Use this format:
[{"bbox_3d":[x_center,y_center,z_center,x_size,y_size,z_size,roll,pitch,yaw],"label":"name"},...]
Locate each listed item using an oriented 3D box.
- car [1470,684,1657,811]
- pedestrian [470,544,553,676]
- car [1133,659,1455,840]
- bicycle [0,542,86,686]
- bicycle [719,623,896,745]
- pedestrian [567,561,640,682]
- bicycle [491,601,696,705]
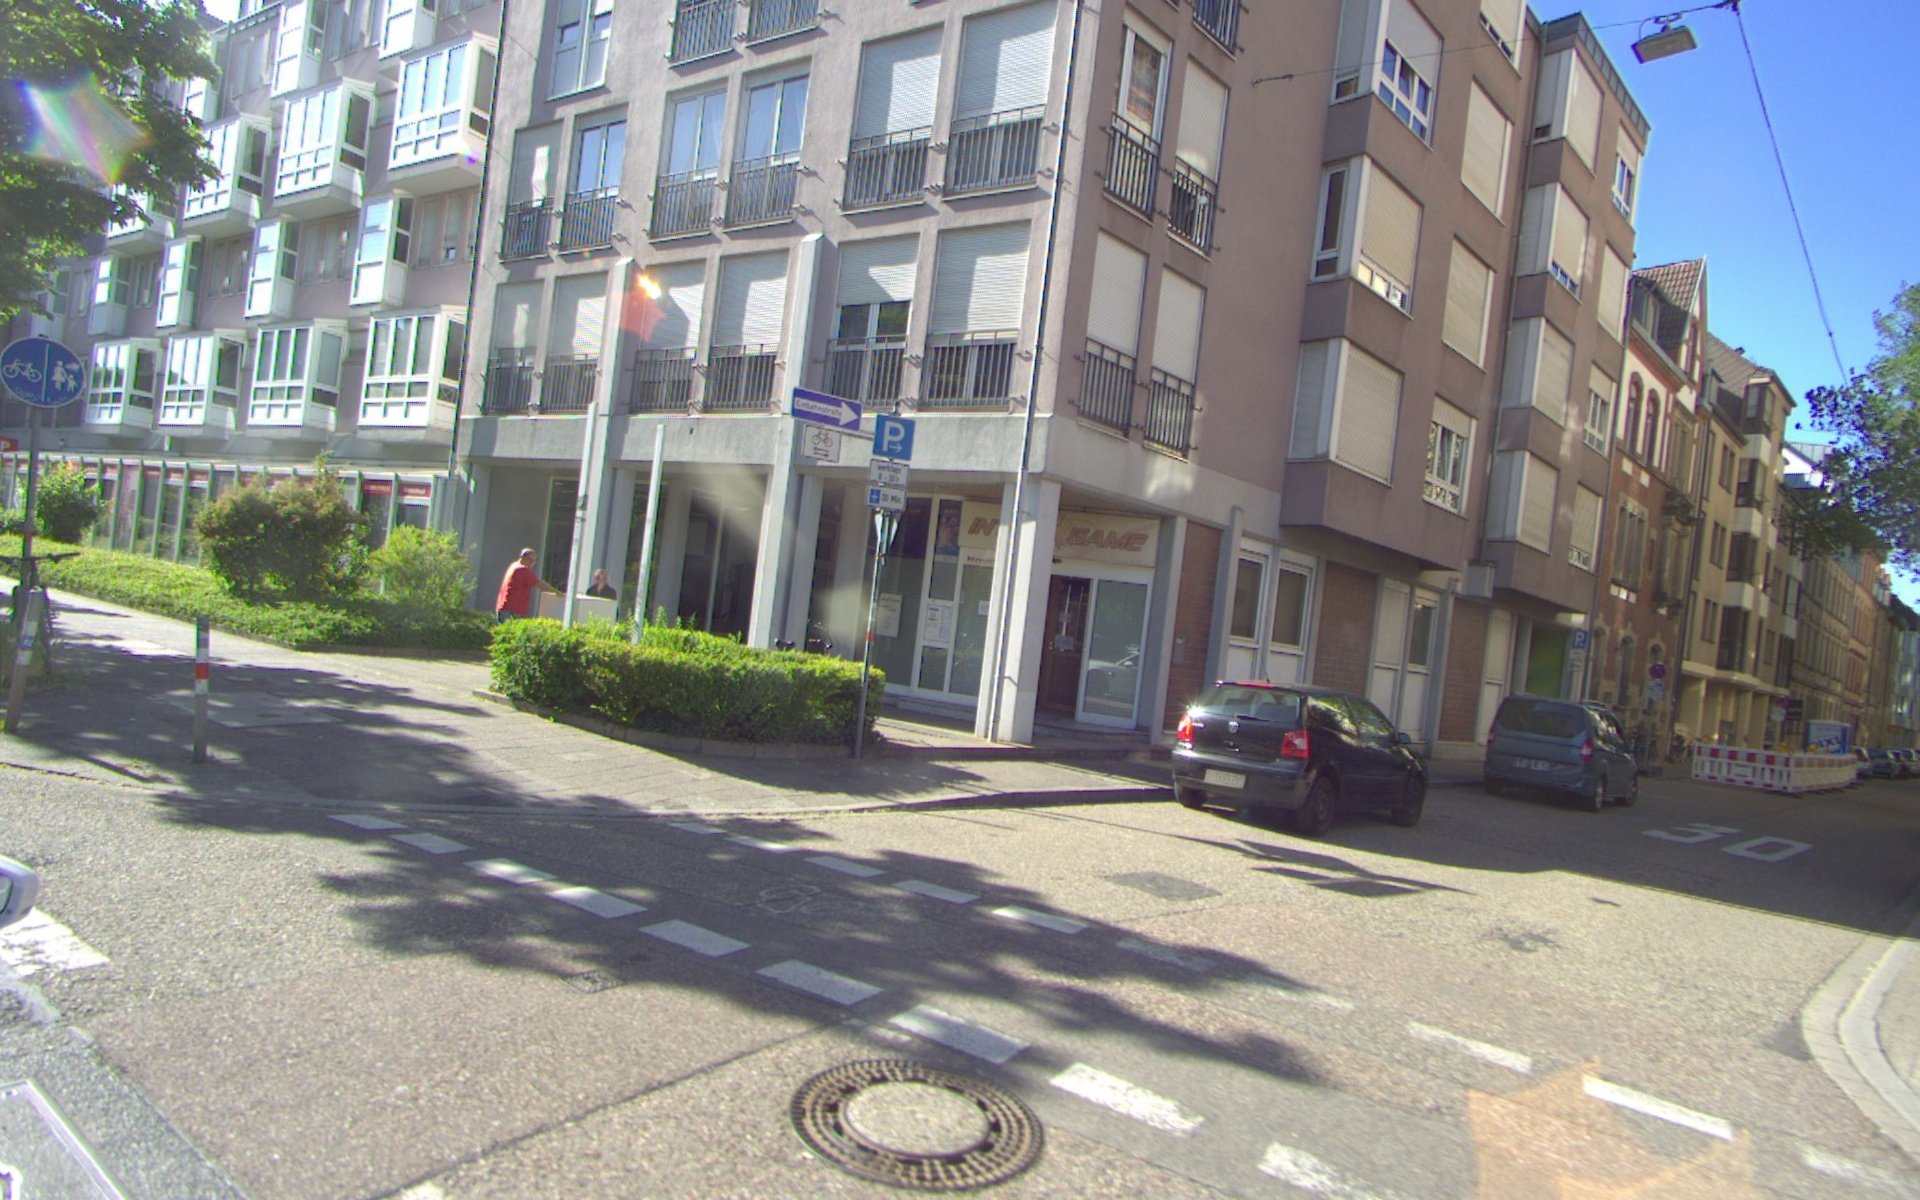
[{"bbox_3d":[10.468,2.535,17.328,1.772,1.726,3.937,6,-3,45],"label":"car"},{"bbox_3d":[-5.766,0.126,12.951,0.593,1.625,0.654,5,2,26],"label":"pedestrian"},{"bbox_3d":[3.913,1.671,11.411,1.839,1.539,3.937,4,-4,45],"label":"car"},{"bbox_3d":[-8.231,0.086,8.940,0.588,1.078,1.999,8,-1,-41],"label":"bicycle"},{"bbox_3d":[-1.813,0.940,11.696,2.171,1.040,0.684,9,2,40],"label":"bicycle"},{"bbox_3d":[-5.056,0.303,14.264,0.593,1.625,0.654,5,2,26],"label":"pedestrian"},{"bbox_3d":[-4.219,0.640,11.791,0.676,1.040,2.197,9,1,33],"label":"bicycle"}]
